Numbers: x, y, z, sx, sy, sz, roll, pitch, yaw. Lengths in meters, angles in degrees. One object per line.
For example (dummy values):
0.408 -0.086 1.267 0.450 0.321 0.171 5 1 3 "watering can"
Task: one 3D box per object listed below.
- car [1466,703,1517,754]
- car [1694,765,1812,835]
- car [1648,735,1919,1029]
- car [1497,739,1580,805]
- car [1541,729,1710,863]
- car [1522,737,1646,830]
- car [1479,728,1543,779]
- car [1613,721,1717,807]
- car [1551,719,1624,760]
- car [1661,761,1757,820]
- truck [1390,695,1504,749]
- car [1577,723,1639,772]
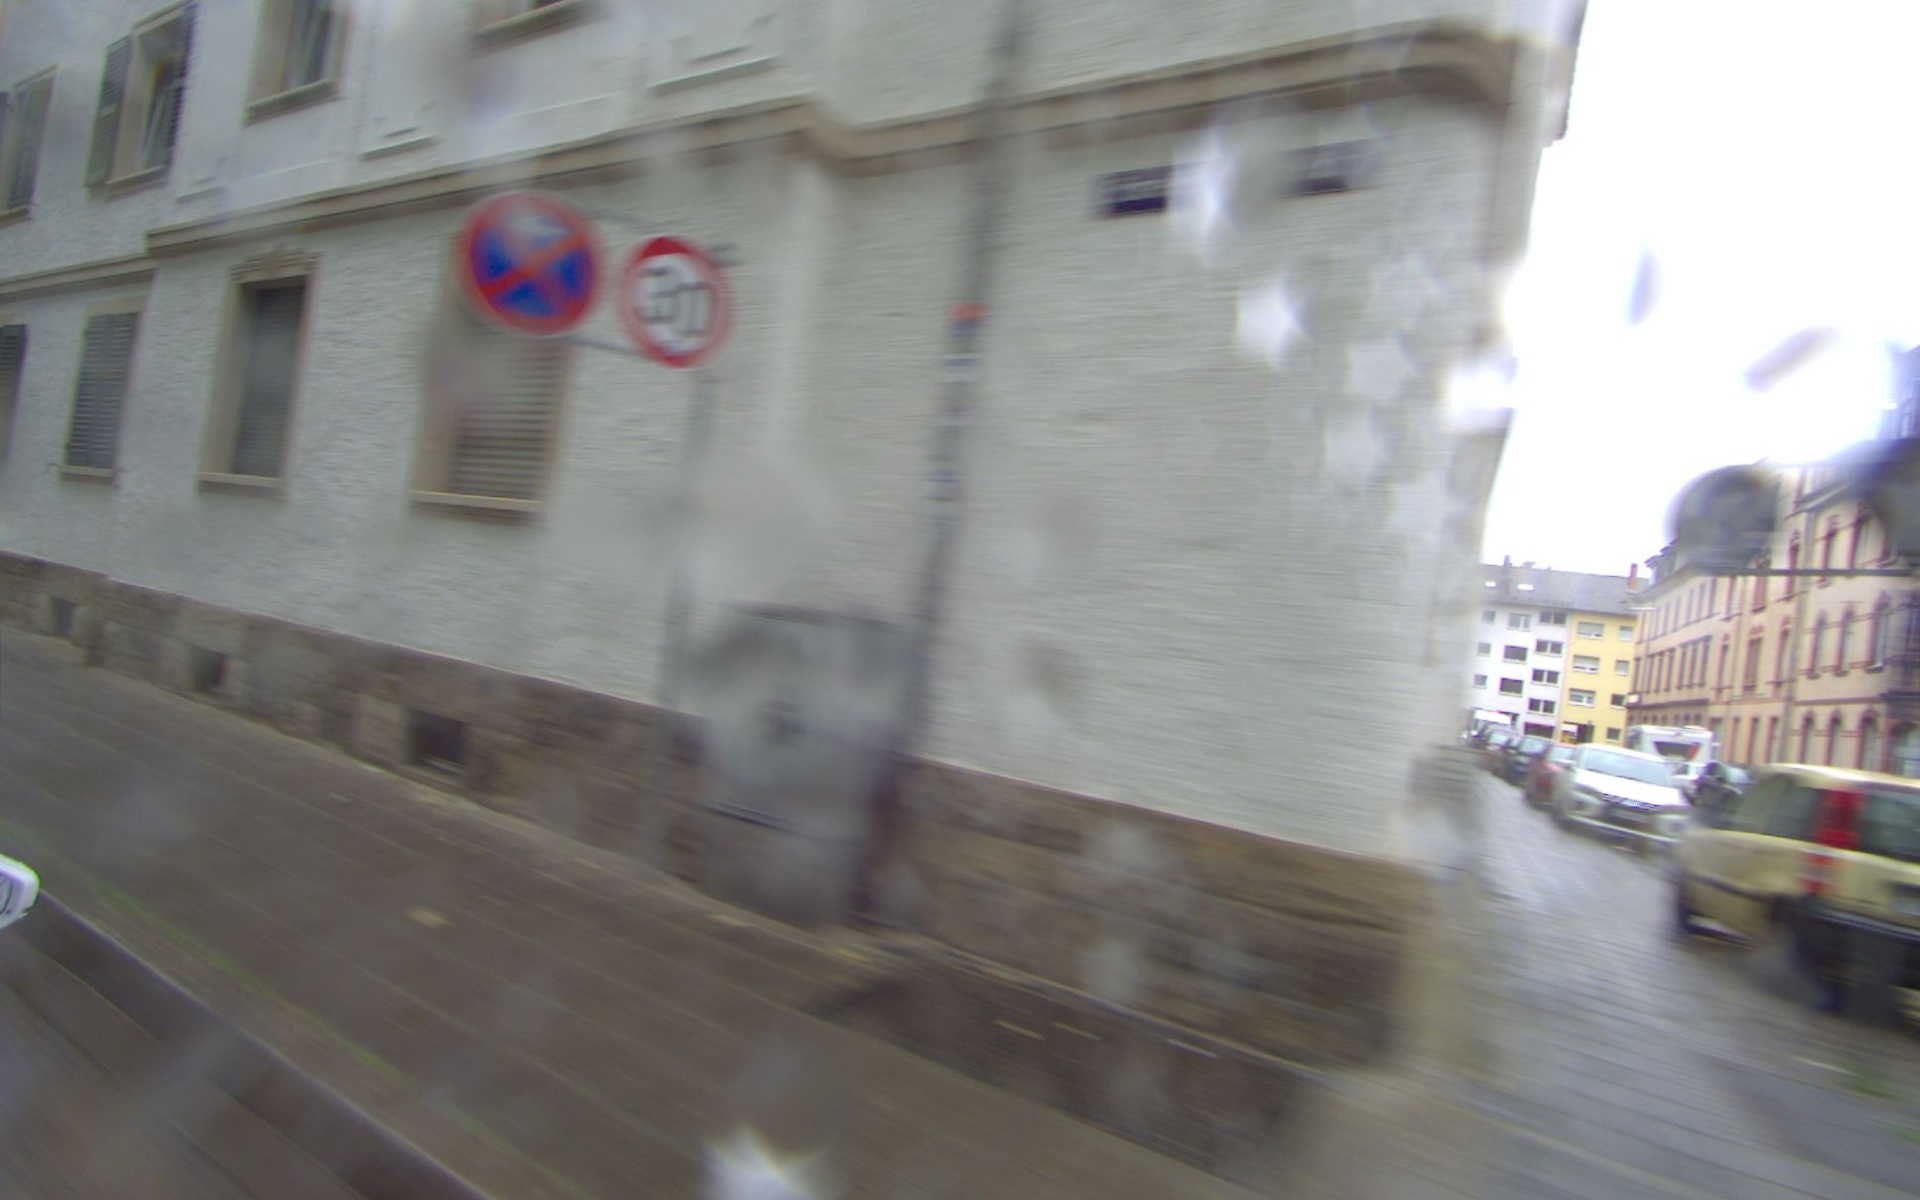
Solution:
29.754 7.174 56.446 1.957 2.351 4.360 11 -1 25 "car"
24.576 6.153 31.358 1.900 1.503 4.243 7 -3 27 "car"
6.508 1.947 7.316 1.686 1.503 3.369 11 -1 25 "car"
17.533 5.164 30.645 1.687 1.425 4.001 11 -1 26 "car"
11.243 3.231 17.248 1.687 1.640 3.732 11 -1 26 "car"
13.363 3.881 21.753 1.687 1.407 3.732 11 -1 26 "car"
20.491 5.666 37.530 1.687 1.407 3.601 11 -1 26 "car"
29.204 6.691 41.899 2.306 2.901 5.755 7 -2 26 "car"
43.956 9.757 70.496 3.943 2.037 1.993 8 -1 41 "car"
26.885 6.802 36.258 1.900 1.503 4.243 7 -3 27 "car"
38.875 9.675 80.715 2.727 3.000 8.321 10 -3 -21 "truck"
33.754 7.646 52.486 1.964 2.037 4.000 9 -1 26 "car"
